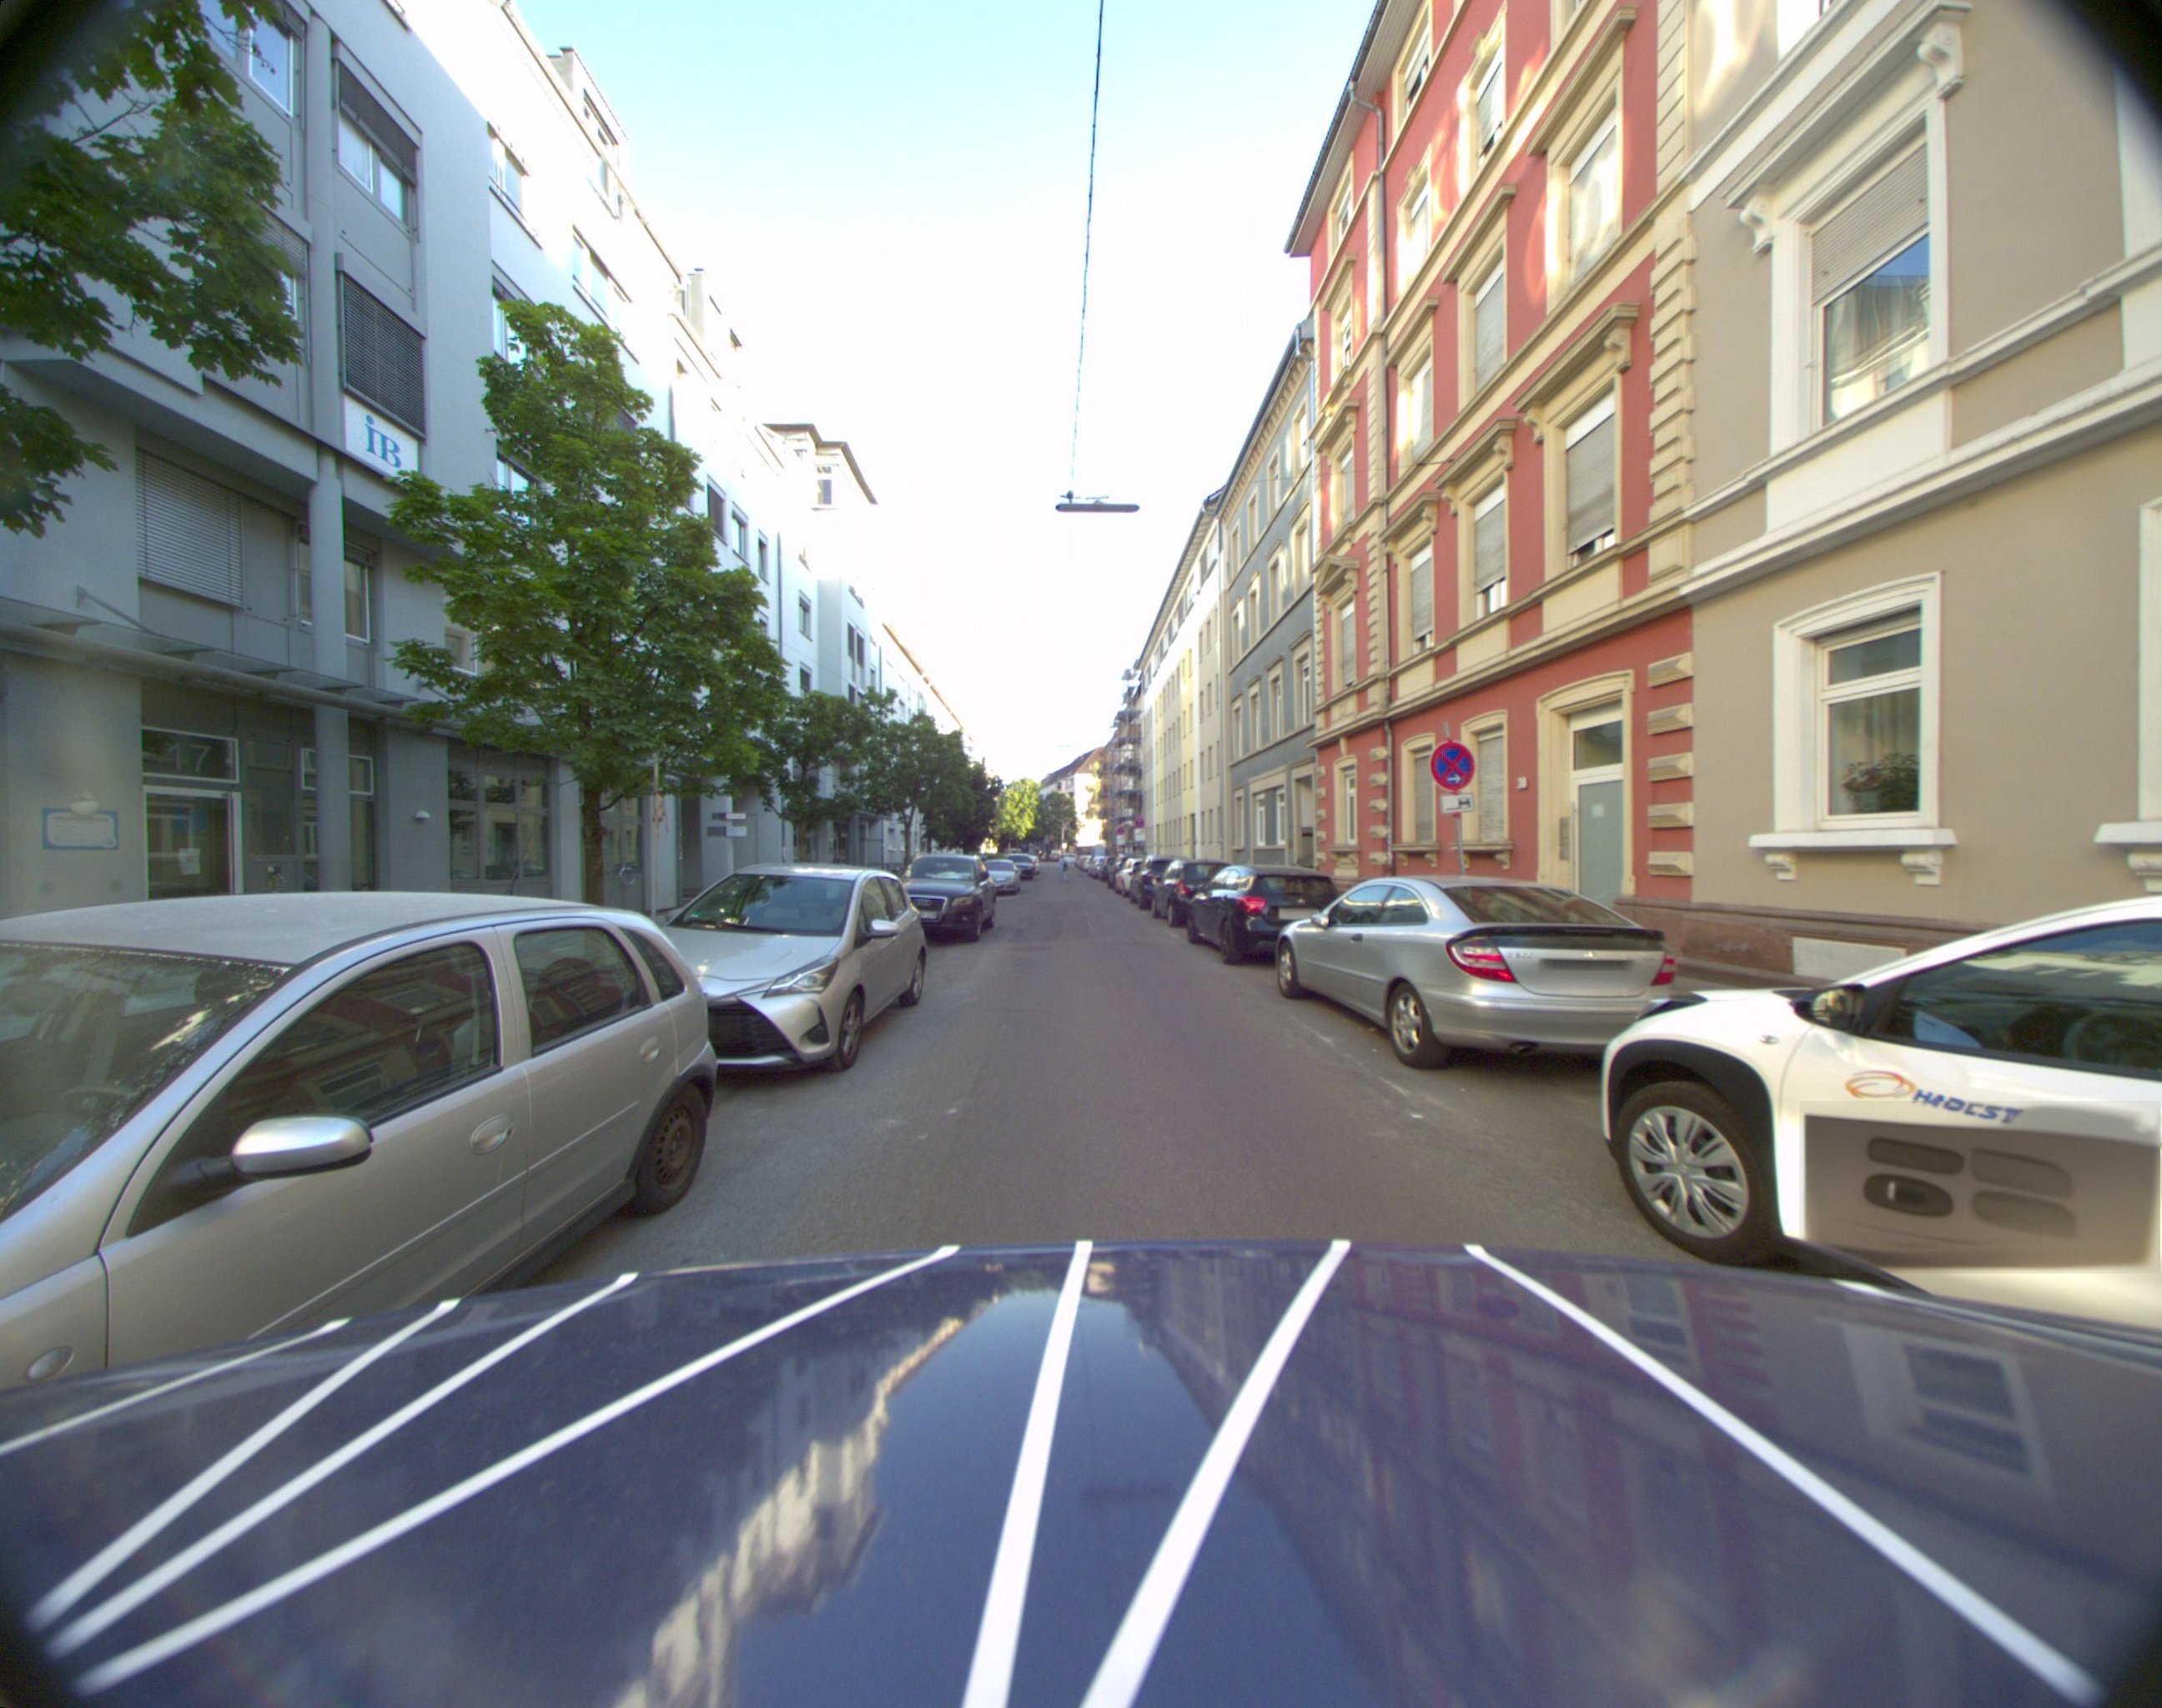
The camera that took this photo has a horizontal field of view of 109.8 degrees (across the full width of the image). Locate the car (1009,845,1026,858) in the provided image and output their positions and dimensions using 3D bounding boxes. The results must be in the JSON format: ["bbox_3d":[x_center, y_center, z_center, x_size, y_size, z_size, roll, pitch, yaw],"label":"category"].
[{"bbox_3d":[-11.737,-0.512,140.151,2.163,2.270,6.199,1,0,-15],"label":"car"}]

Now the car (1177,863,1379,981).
[{"bbox_3d":[2.876,0.923,12.146,1.926,1.475,4.266,1,0,-3],"label":"car"}]

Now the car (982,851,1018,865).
[{"bbox_3d":[-9.302,0.487,87.761,3.998,1.556,1.999,1,1,-4],"label":"car"}]

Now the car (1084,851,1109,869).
[{"bbox_3d":[1.384,0.543,68.929,1.999,1.496,3.998,1,0,-3],"label":"car"}]

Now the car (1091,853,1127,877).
[{"bbox_3d":[1.747,0.678,49.118,1.928,1.480,4.616,1,0,-2],"label":"car"}]

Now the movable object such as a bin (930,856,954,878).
[{"bbox_3d":[-8.229,0.765,44.986,1.265,1.313,1.138,0,1,-2],"label":"movable object such as a bin"}]

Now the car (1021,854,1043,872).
[{"bbox_3d":[-4.099,0.721,64.278,1.681,1.411,4.135,1,0,-2],"label":"car"}]

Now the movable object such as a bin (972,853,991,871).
[{"bbox_3d":[-7.776,0.604,59.444,1.288,1.428,1.223,0,1,-2],"label":"movable object such as a bin"}]

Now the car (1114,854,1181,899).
[{"bbox_3d":[2.430,0.788,28.834,1.926,1.551,4.266,1,0,-3],"label":"car"}]

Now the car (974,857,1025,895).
[{"bbox_3d":[-3.380,0.896,32.056,1.768,1.421,4.343,1,0,-2],"label":"car"}]

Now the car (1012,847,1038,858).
[{"bbox_3d":[-9.200,-0.224,125.322,4.217,1.760,2.080,1,1,-5],"label":"car"}]

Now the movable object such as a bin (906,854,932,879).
[{"bbox_3d":[-9.527,0.706,44.694,1.265,1.428,1.138,0,1,-2],"label":"movable object such as a bin"}]

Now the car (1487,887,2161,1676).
[{"bbox_3d":[3.172,0.943,1.950,1.925,1.498,4.267,1,0,0],"label":"car"}]

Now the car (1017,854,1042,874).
[{"bbox_3d":[-3.998,0.747,59.330,1.680,1.474,3.652,1,0,1],"label":"car"}]

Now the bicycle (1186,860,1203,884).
[{"bbox_3d":[5.281,0.814,35.511,0.451,1.068,1.751,-2,1,-1],"label":"bicycle"}]

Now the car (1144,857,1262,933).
[{"bbox_3d":[2.749,0.870,18.118,1.906,1.551,4.239,1,0,-3],"label":"car"}]

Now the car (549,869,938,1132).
[{"bbox_3d":[-2.484,0.959,6.725,1.681,1.516,3.970,1,0,0],"label":"car"}]

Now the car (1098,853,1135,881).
[{"bbox_3d":[2.040,0.706,44.269,1.784,1.480,4.419,1,0,-2],"label":"car"}]

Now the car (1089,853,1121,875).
[{"bbox_3d":[1.675,0.673,54.486,1.928,1.480,4.615,1,0,-3],"label":"car"}]

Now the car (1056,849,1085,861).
[{"bbox_3d":[-1.541,0.112,115.334,4.214,1.760,2.081,1,1,1],"label":"car"}]

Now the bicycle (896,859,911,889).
[{"bbox_3d":[-7.056,0.782,30.229,0.522,1.161,1.738,1,1,-12],"label":"bicycle"}]

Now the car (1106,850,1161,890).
[{"bbox_3d":[2.302,0.678,34.211,1.926,1.654,4.467,1,0,-3],"label":"car"}]

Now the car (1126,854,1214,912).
[{"bbox_3d":[2.560,0.809,22.934,1.926,1.551,4.266,1,0,-3],"label":"car"}]

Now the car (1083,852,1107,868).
[{"bbox_3d":[1.301,0.599,73.758,1.999,1.439,3.998,1,0,-3],"label":"car"}]

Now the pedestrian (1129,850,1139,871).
[{"bbox_3d":[4.585,0.535,65.783,0.791,1.750,1.092,1,1,-2],"label":"pedestrian"}]

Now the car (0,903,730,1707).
[{"bbox_3d":[-2.597,0.997,1.867,1.680,1.467,3.729,1,0,1],"label":"car"}]

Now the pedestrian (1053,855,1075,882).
[{"bbox_3d":[-0.907,0.764,41.561,0.868,1.455,0.804,1,1,33],"label":"pedestrian"}]

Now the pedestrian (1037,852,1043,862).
[{"bbox_3d":[-5.948,0.383,110.442,0.749,1.455,0.802,-2,1,-2],"label":"pedestrian"}]

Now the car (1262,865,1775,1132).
[{"bbox_3d":[3.183,0.920,6.752,1.926,1.551,4.266,1,0,-3],"label":"car"}]

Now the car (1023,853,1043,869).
[{"bbox_3d":[-4.405,0.630,70.459,1.681,1.411,4.134,1,0,-2],"label":"car"}]

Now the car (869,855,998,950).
[{"bbox_3d":[-2.837,0.857,15.585,1.890,1.613,4.433,1,0,-2],"label":"car"}]

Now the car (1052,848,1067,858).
[{"bbox_3d":[-3.810,-0.200,131.648,2.081,1.760,4.214,1,0,-8],"label":"car"}]

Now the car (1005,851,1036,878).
[{"bbox_3d":[-3.820,0.636,48.727,1.876,1.626,4.720,1,0,-3],"label":"car"}]

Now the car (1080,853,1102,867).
[{"bbox_3d":[1.054,0.606,79.067,1.999,1.423,3.998,1,0,-3],"label":"car"}]
